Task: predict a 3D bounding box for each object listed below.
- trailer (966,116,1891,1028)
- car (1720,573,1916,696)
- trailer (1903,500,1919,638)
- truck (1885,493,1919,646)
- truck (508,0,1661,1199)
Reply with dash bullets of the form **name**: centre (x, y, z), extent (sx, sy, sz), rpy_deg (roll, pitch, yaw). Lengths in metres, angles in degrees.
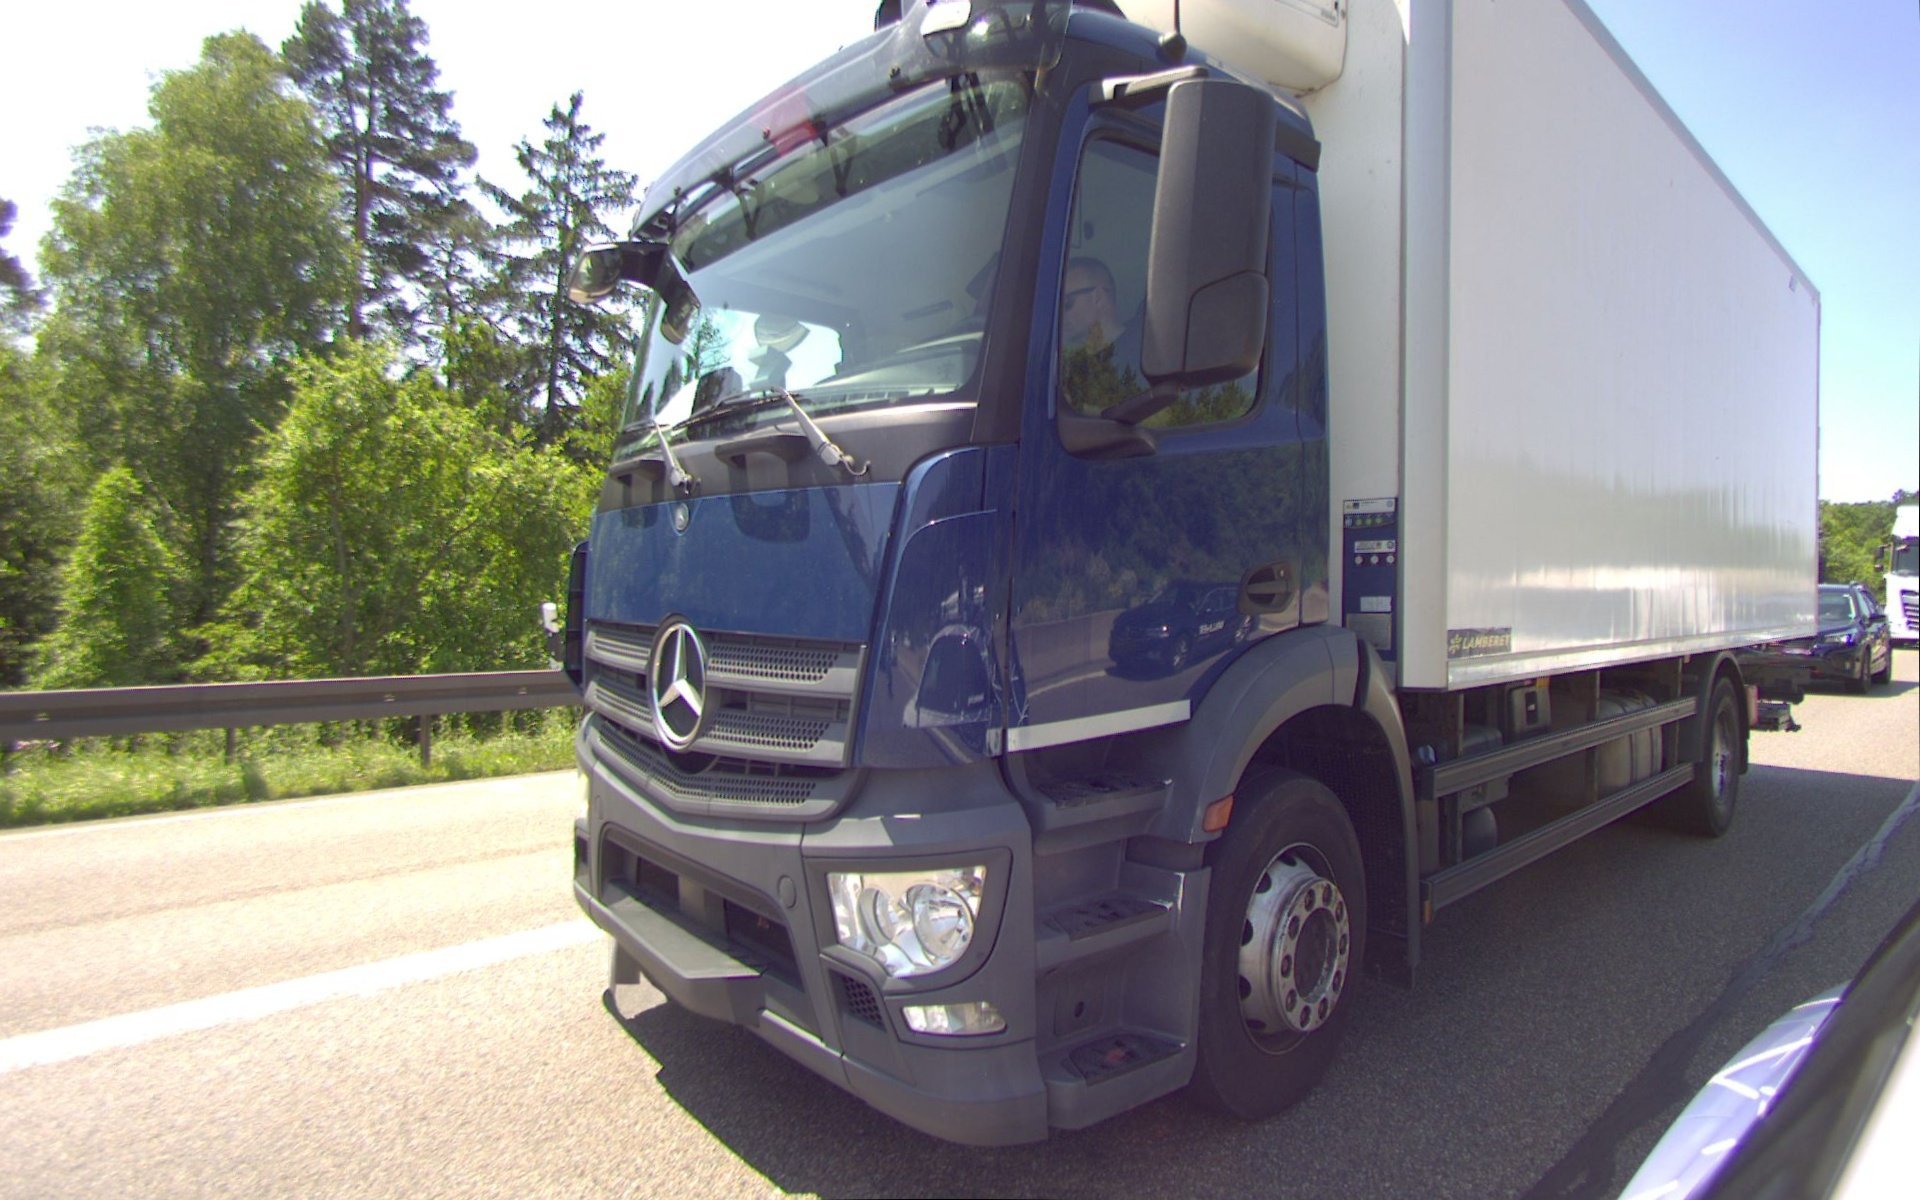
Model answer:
- **trailer**: centre (3.803, -0.129, 6.741), extent (7.742, 2.935, 2.561), rpy_deg (0, 1, -40)
- **car**: centre (14.365, 0.441, 16.850), extent (4.535, 1.713, 1.996), rpy_deg (-2, 3, -44)
- **trailer**: centre (33.888, -1.022, 33.434), extent (11.416, 4.133, 2.765), rpy_deg (-2, 3, -41)
- **truck**: centre (29.180, -0.905, 29.262), extent (7.206, 4.135, 2.765), rpy_deg (-2, 1, -41)
- **truck**: centre (0.669, -0.070, 4.097), extent (4.031, 2.977, 2.561), rpy_deg (-1, 2, -40)
